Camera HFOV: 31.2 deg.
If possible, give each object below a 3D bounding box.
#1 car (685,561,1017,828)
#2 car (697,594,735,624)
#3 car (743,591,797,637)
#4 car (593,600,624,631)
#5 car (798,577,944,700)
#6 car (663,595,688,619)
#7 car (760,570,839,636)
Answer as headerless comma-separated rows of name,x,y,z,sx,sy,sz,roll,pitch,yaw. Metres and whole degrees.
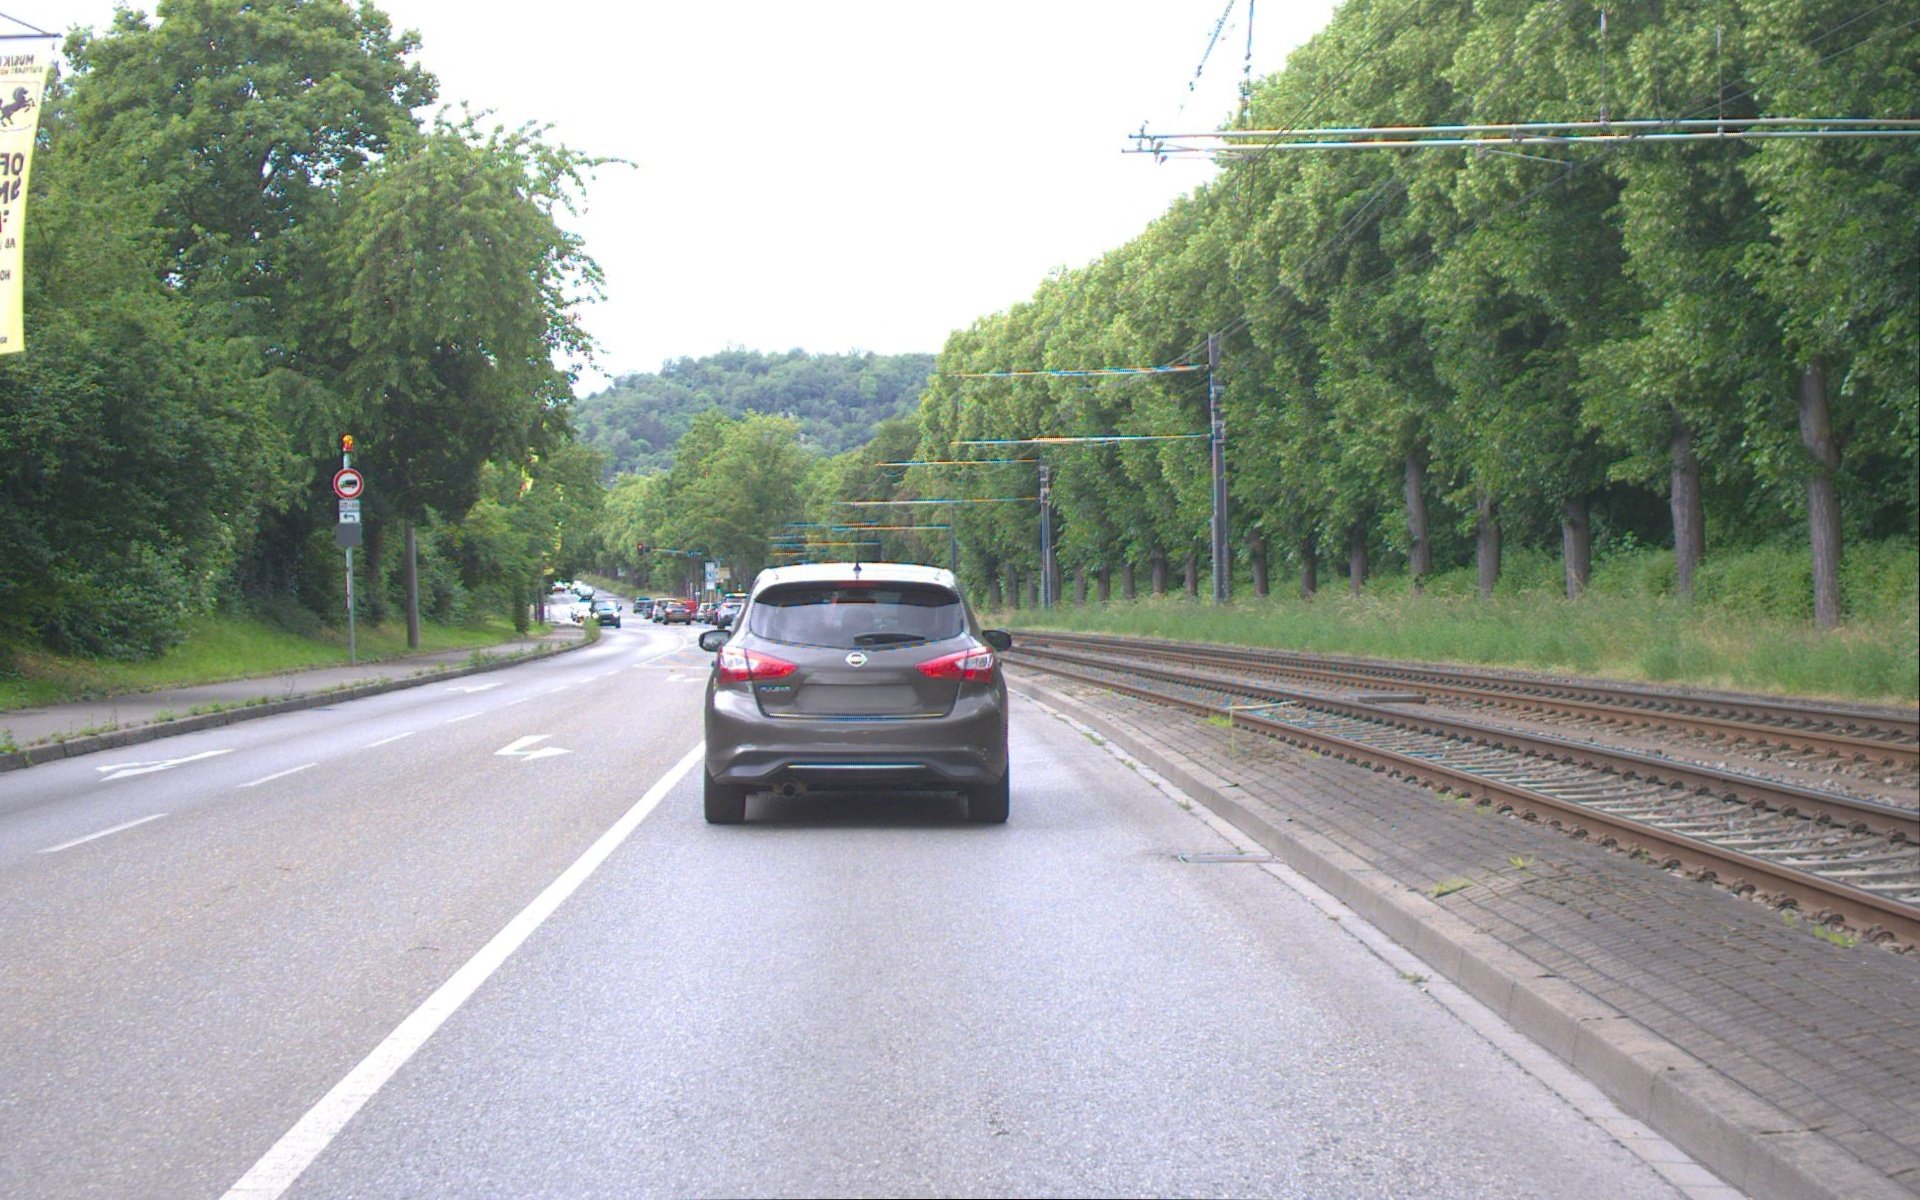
car,-0.642,0.503,21.184,1.850,1.488,4.000,0,1,-1
car,-12.526,0.469,176.638,1.794,1.505,4.000,0,0,-3
car,-6.140,0.455,111.356,1.699,1.439,4.000,0,0,-3
car,-24.229,1.079,236.984,1.993,2.029,5.116,-1,0,-5
car,-1.135,0.466,42.243,1.699,1.439,4.000,0,0,-3
car,-20.476,0.540,247.541,1.699,1.708,4.000,0,0,-3
car,-3.584,0.069,76.722,1.699,1.439,4.000,0,0,-3
